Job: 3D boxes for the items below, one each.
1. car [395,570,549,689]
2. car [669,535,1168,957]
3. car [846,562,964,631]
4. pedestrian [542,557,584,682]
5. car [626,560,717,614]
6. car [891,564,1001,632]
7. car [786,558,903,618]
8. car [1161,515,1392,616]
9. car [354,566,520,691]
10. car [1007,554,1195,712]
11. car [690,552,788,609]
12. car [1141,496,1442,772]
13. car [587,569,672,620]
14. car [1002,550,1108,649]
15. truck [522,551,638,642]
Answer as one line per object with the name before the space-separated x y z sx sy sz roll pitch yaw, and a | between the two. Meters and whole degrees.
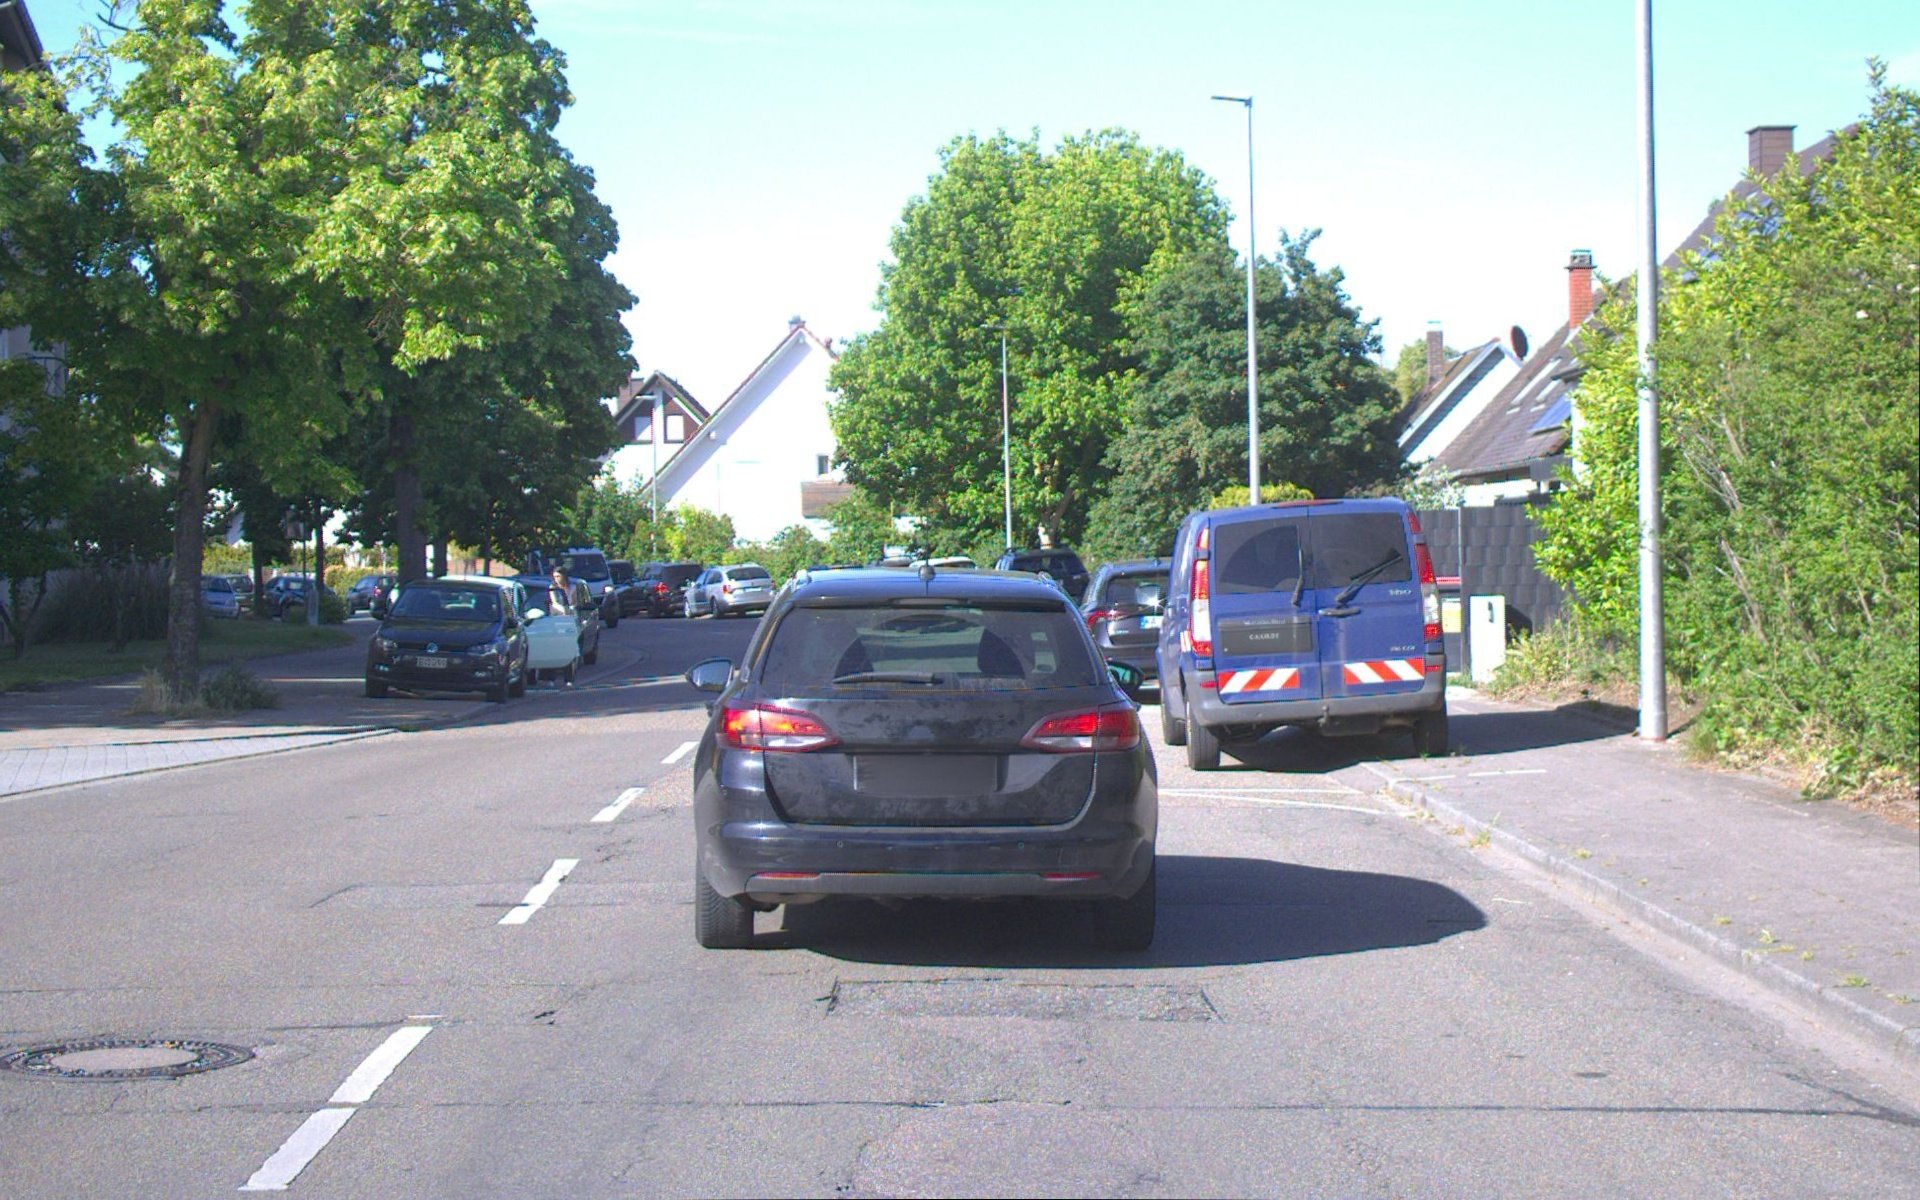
car | -6.820 0.425 48.363 1.700 1.518 4.052 -3 -1 -3
car | -0.172 0.512 14.367 1.761 1.486 4.291 0 0 -1
car | -1.380 -0.078 84.393 1.911 1.595 4.295 -2 0 -14
pedestrian | -5.645 0.283 48.861 0.504 1.755 0.695 -2 -1 -4
car | -8.711 -0.374 103.652 1.819 1.529 4.260 -2 0 -17
car | -0.351 -0.048 79.772 1.760 1.475 4.295 -2 0 -11
car | -3.053 -0.296 90.061 2.005 1.470 4.295 -2 0 -16
car | 6.772 -0.732 73.918 4.680 1.977 2.143 -2 0 0
car | -6.461 0.364 42.798 1.700 1.475 4.052 0 -1 -4
car | 1.456 0.303 37.235 1.765 1.475 4.992 -3 1 0
car | -6.380 -0.559 98.740 1.819 1.529 4.260 -2 0 -17
car | 2.445 0.208 26.416 1.836 1.901 4.698 -1 1 0
car | -10.523 -0.158 109.356 1.819 1.529 4.260 -2 0 -17
car | 1.738 -0.019 64.079 1.778 1.718 4.294 -2 0 0
truck | -10.389 -0.129 94.517 2.130 2.326 6.442 -2 1 3
